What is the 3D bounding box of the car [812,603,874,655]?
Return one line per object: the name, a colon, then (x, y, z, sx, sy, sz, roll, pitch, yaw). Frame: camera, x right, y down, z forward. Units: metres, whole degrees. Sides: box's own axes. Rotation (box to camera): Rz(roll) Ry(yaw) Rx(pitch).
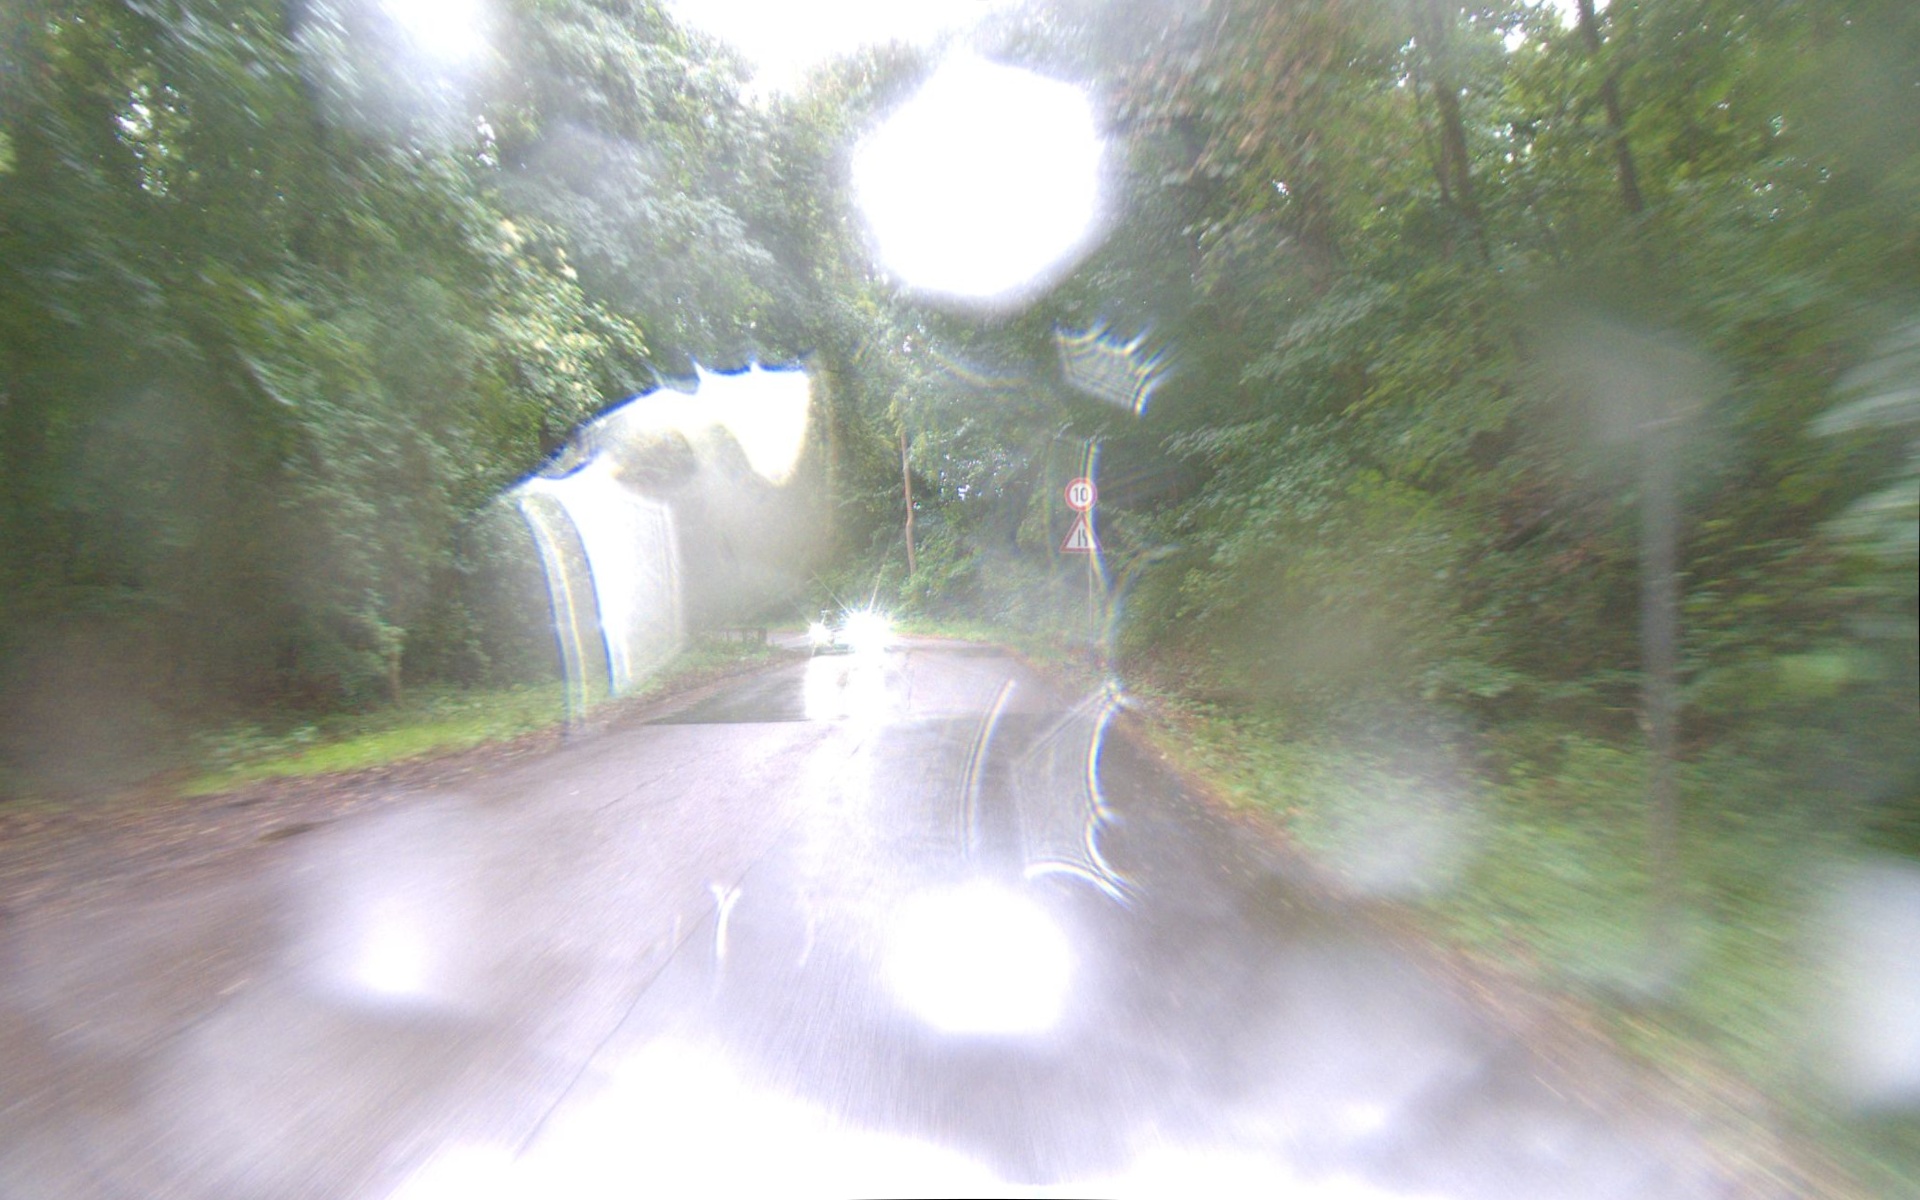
car: (-3.674, 0.896, 52.507, 1.679, 1.501, 3.889, -3, 0, -1)
